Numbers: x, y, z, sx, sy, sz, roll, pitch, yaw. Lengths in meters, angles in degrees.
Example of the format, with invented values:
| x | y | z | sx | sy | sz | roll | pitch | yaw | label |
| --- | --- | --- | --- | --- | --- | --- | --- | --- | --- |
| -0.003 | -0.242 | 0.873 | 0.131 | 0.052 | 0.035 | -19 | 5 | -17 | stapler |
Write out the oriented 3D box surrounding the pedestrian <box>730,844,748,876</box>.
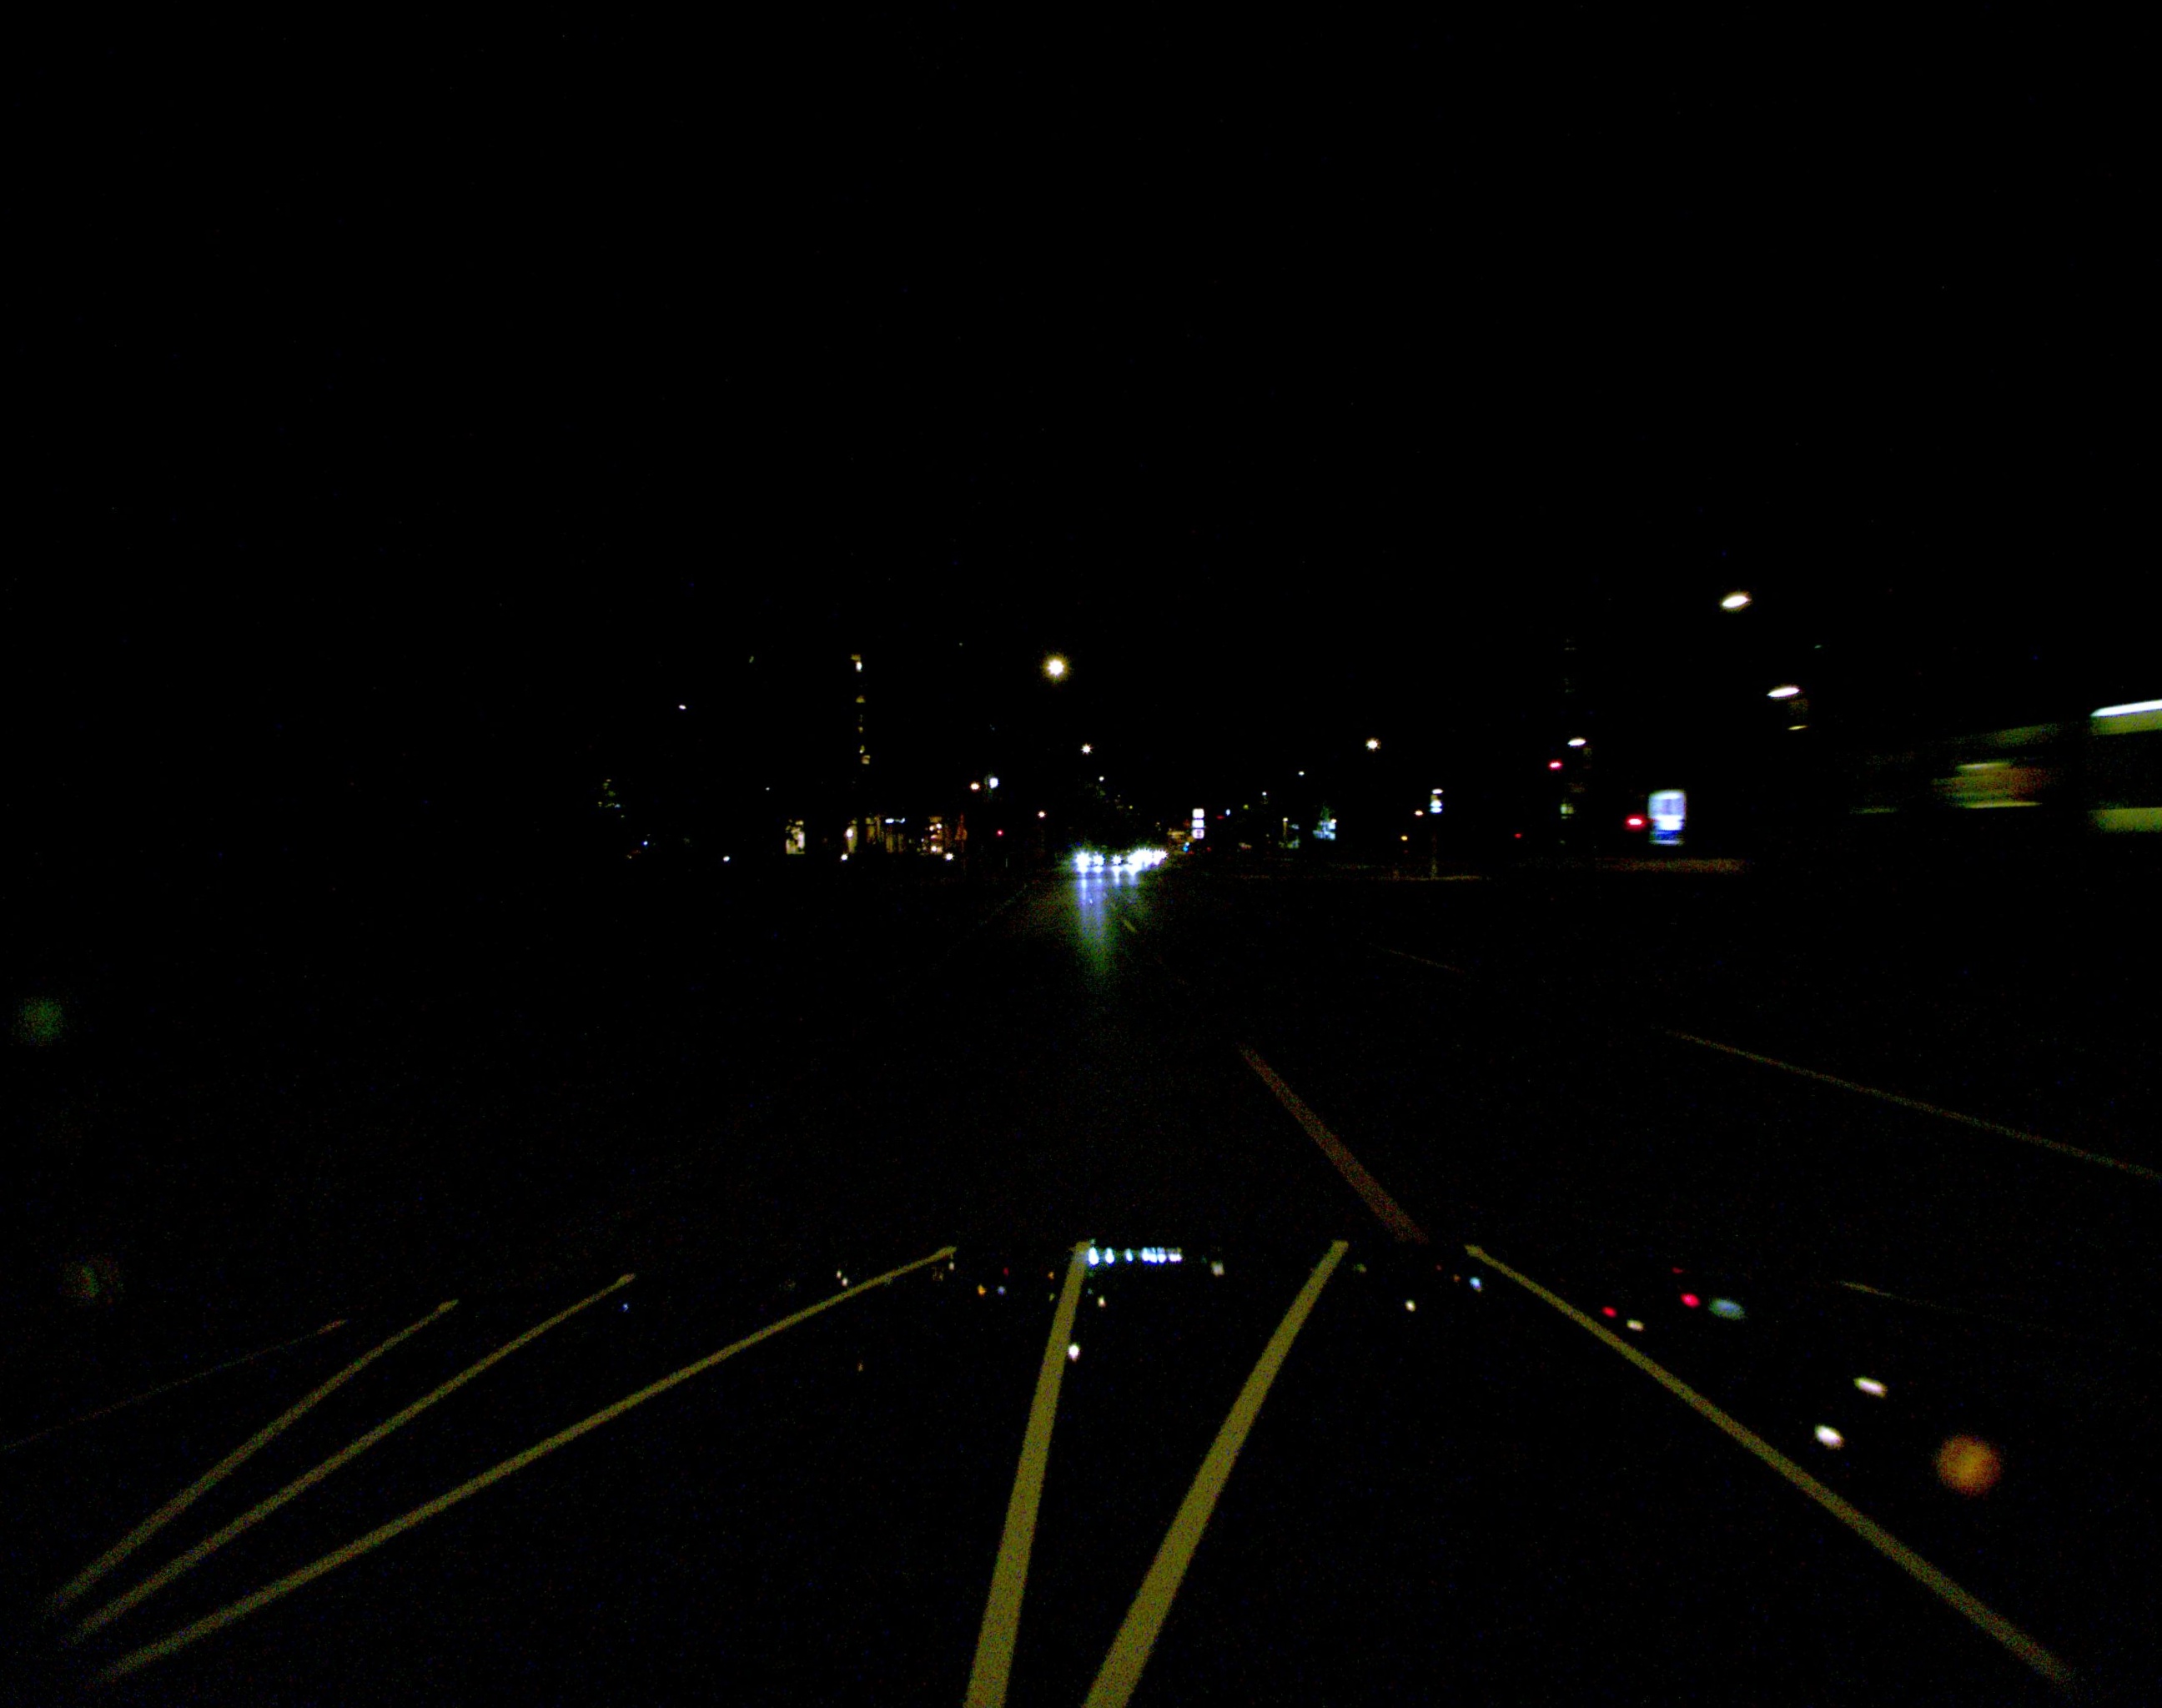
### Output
| x | y | z | sx | sy | sz | roll | pitch | yaw | label |
| --- | --- | --- | --- | --- | --- | --- | --- | --- | --- |
| -20.541 | 0.351 | 45.612 | 0.664 | 1.866 | 0.731 | -2 | 1 | -1 | pedestrian |

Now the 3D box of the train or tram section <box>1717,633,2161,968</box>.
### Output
| x | y | z | sx | sy | sz | roll | pitch | yaw | label |
| --- | --- | --- | --- | --- | --- | --- | --- | --- | --- |
| 13.548 | -0.616 | 5.284 | 2.744 | 3.824 | 19.365 | -1 | 0 | 2 | train or tram section |

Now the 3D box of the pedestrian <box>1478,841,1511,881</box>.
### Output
| x | y | z | sx | sy | sz | roll | pitch | yaw | label |
| --- | --- | --- | --- | --- | --- | --- | --- | --- | --- |
| 17.513 | 0.297 | 32.212 | 0.820 | 1.678 | 1.056 | 0 | 1 | 2 | pedestrian |

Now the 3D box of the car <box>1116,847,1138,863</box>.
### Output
| x | y | z | sx | sy | sz | roll | pitch | yaw | label |
| --- | --- | --- | --- | --- | --- | --- | --- | --- | --- |
| 4.501 | 0.130 | 74.623 | 1.858 | 1.482 | 3.561 | -1 | 0 | 8 | car |

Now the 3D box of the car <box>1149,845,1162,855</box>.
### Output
| x | y | z | sx | sy | sz | roll | pitch | yaw | label |
| --- | --- | --- | --- | --- | --- | --- | --- | --- | --- |
| 12.475 | -0.671 | 127.197 | 1.907 | 1.609 | 3.719 | -1 | 1 | 2 | car |

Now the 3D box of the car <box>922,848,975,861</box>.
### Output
| x | y | z | sx | sy | sz | roll | pitch | yaw | label |
| --- | --- | --- | --- | --- | --- | --- | --- | --- | --- |
| -10.824 | 0.053 | 62.185 | 4.008 | 1.028 | 1.480 | 1 | -1 | -40 | car |

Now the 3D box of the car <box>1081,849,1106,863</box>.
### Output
| x | y | z | sx | sy | sz | roll | pitch | yaw | label |
| --- | --- | --- | --- | --- | --- | --- | --- | --- | --- |
| 1.266 | 0.177 | 75.182 | 1.947 | 1.299 | 3.907 | 1 | 1 | 8 | car |

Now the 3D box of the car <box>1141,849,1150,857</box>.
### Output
| x | y | z | sx | sy | sz | roll | pitch | yaw | label |
| --- | --- | --- | --- | --- | --- | --- | --- | --- | --- |
| 13.801 | -0.198 | 163.111 | 1.827 | 1.696 | 4.001 | -1 | 1 | 5 | car |
